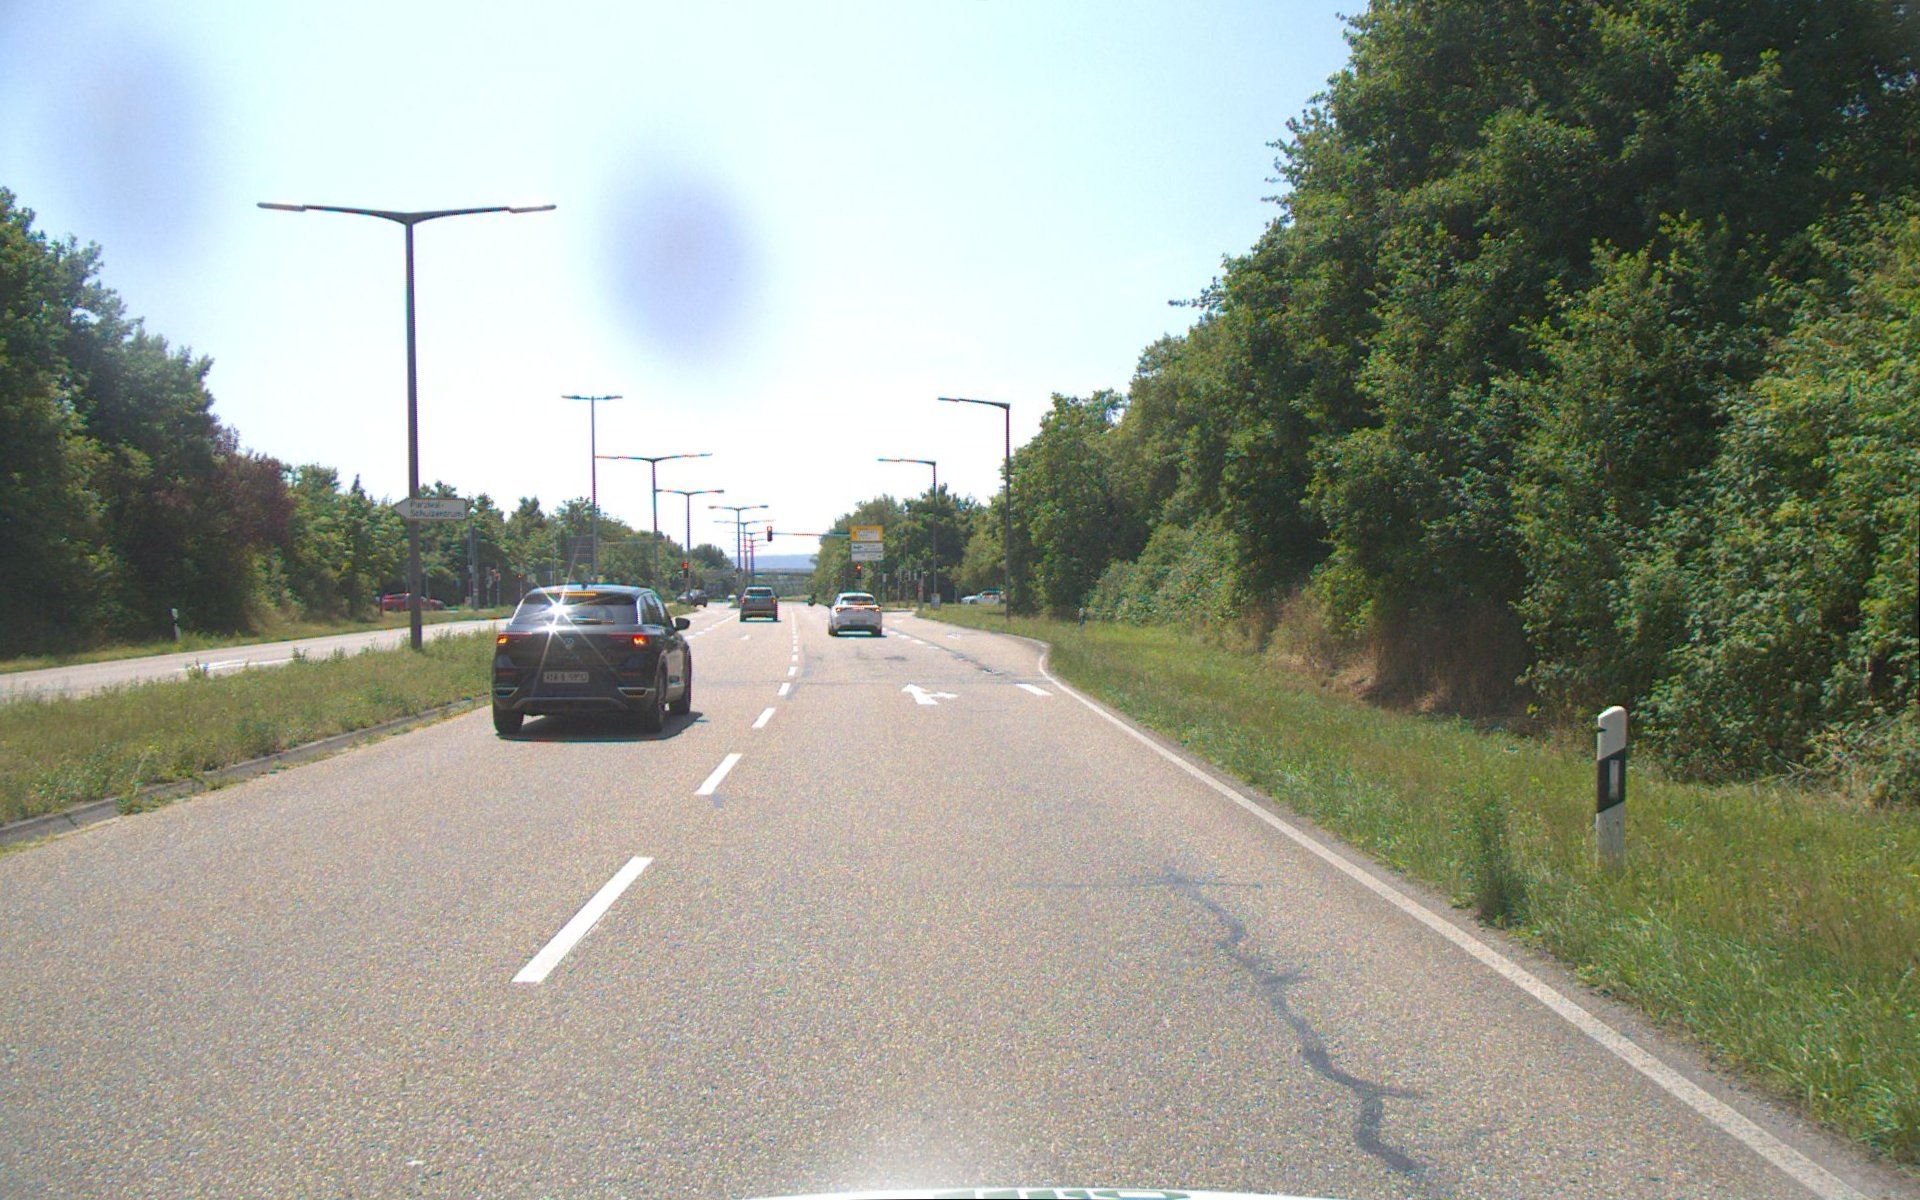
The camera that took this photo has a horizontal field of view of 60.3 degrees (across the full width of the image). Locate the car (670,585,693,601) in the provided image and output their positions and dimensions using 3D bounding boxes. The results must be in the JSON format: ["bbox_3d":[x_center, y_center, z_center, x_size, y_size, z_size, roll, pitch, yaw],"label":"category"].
[{"bbox_3d":[-27.005,-0.665,160.514,1.792,1.545,3.997,0,0,-3],"label":"car"}]

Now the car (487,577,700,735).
[{"bbox_3d":[-4.013,0.564,18.709,1.720,1.583,3.997,0,0,-3],"label":"car"}]

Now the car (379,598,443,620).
[{"bbox_3d":[-41.913,0.665,126.389,4.446,1.670,1.971,0,0,-14],"label":"car"}]

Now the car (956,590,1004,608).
[{"bbox_3d":[1.855,-0.101,150.709,4.032,1.552,1.931,-1,0,-14],"label":"car"}]

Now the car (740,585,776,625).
[{"bbox_3d":[-10.175,0.267,83.527,1.721,1.962,3.995,0,0,-6],"label":"car"}]

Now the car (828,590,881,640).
[{"bbox_3d":[-3.651,0.495,57.031,1.762,1.611,3.996,-1,0,-4],"label":"car"}]

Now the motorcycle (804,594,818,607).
[{"bbox_3d":[-15.696,0.014,174.252,1.397,1.303,2.566,-2,0,-6],"label":"motorcycle"}]
